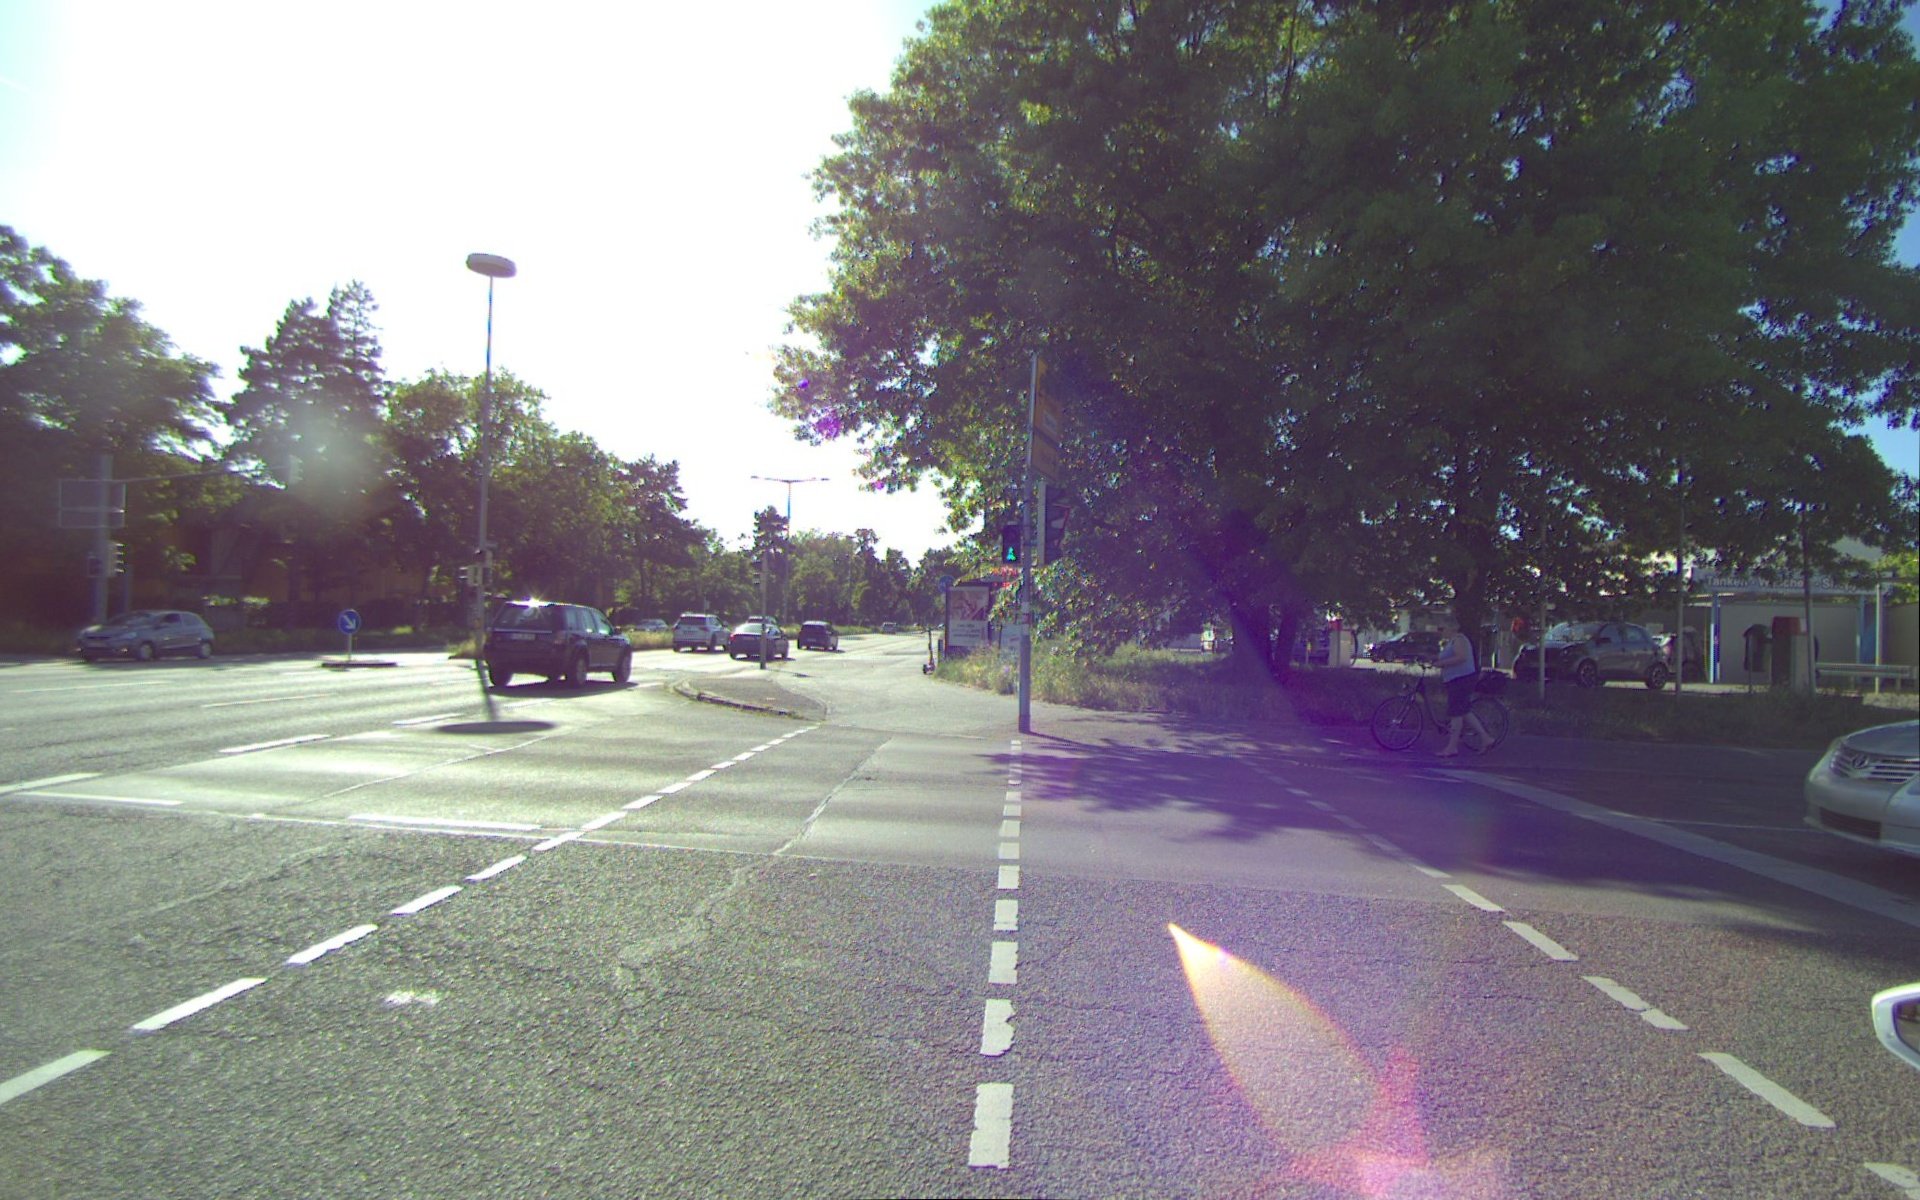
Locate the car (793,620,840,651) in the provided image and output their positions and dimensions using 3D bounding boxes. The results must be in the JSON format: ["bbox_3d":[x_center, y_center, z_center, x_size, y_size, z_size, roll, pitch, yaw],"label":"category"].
[{"bbox_3d":[-7.953,1.983,56.179,1.806,1.609,4.366,2,-2,2],"label":"car"}]

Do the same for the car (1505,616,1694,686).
[{"bbox_3d":[15.026,1.196,23.608,3.943,1.394,1.751,4,-2,-22],"label":"car"}]

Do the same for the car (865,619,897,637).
[{"bbox_3d":[-9.920,3.463,125.663,1.983,2.040,3.956,5,-2,-38],"label":"car"}]

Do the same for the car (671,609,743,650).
[{"bbox_3d":[-11.532,1.358,46.090,1.910,1.674,4.367,3,-2,3],"label":"car"}]

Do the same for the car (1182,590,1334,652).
[{"bbox_3d":[12.063,0.864,40.905,5.542,2.126,2.001,4,-2,2],"label":"car"}]

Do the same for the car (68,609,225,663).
[{"bbox_3d":[-23.738,1.061,29.493,1.522,1.451,3.599,2,-2,3],"label":"car"}]

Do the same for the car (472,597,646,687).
[{"bbox_3d":[-8.559,0.897,21.904,1.791,1.706,4.394,2,-2,3],"label":"car"}]

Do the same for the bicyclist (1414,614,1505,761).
[{"bbox_3d":[5.839,1.002,11.763,0.813,1.663,0.543,1,-1,8],"label":"bicyclist"}]

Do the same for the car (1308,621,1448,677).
[{"bbox_3d":[13.564,1.581,32.663,3.927,1.531,1.530,4,-2,-8],"label":"car"}]

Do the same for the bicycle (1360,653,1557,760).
[{"bbox_3d":[5.800,1.225,11.762,1.985,1.156,0.529,1,-1,8],"label":"bicycle"}]

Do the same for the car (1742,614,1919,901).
[{"bbox_3d":[7.598,0.910,5.578,4.791,1.508,1.844,1,-2,14],"label":"car"}]

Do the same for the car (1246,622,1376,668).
[{"bbox_3d":[12.419,1.598,35.618,3.928,1.352,1.796,4,-2,-9],"label":"car"}]

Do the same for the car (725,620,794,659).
[{"bbox_3d":[-8.207,1.617,41.500,1.806,1.413,4.366,4,-2,1],"label":"car"}]

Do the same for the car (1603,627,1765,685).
[{"bbox_3d":[24.051,1.847,33.480,3.921,1.628,2.001,4,-2,1],"label":"car"}]
